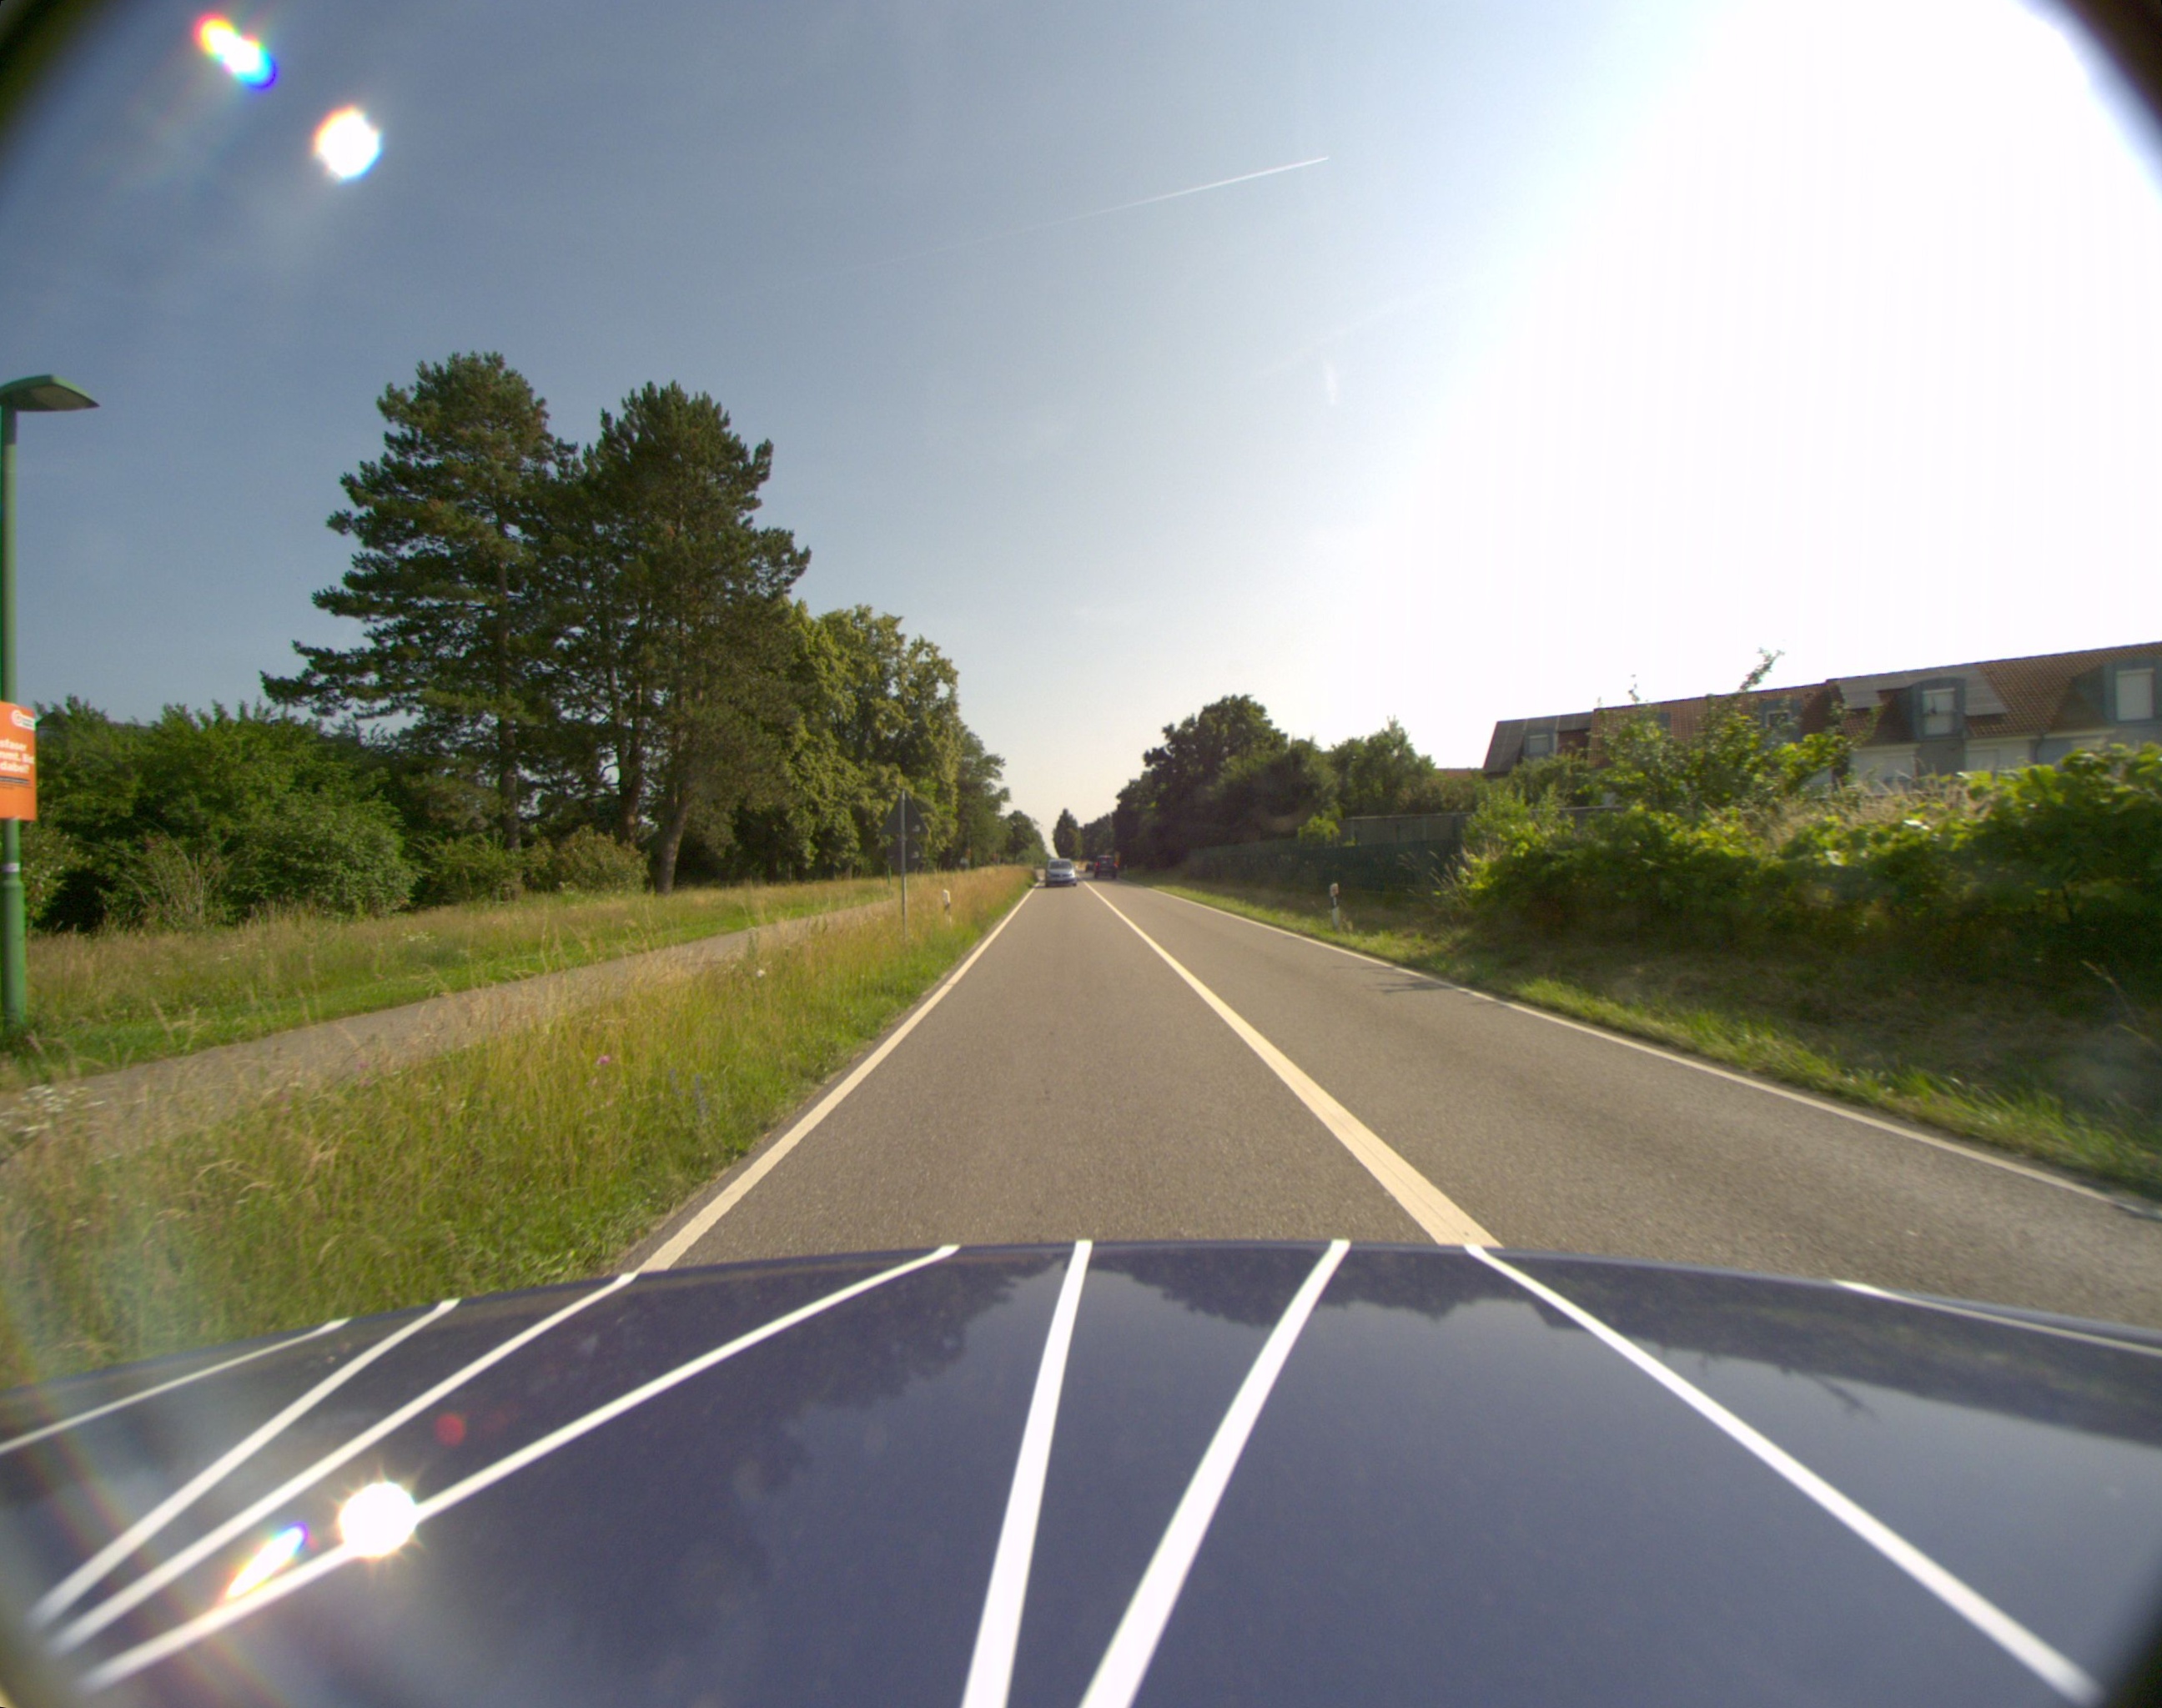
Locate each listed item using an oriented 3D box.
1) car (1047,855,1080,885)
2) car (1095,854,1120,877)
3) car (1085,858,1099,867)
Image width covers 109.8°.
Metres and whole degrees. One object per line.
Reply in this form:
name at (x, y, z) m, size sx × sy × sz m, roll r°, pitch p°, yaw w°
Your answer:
car at (-1.026, 0.911, 43.668) m, size 1.809 × 1.592 × 4.269 m, roll -1°, pitch 0°, yaw -2°
car at (2.113, 0.899, 61.457) m, size 1.944 × 1.807 × 4.242 m, roll 1°, pitch 0°, yaw 1°
car at (1.687, 1.287, 119.929) m, size 1.875 × 1.415 × 4.576 m, roll 1°, pitch 0°, yaw -2°
